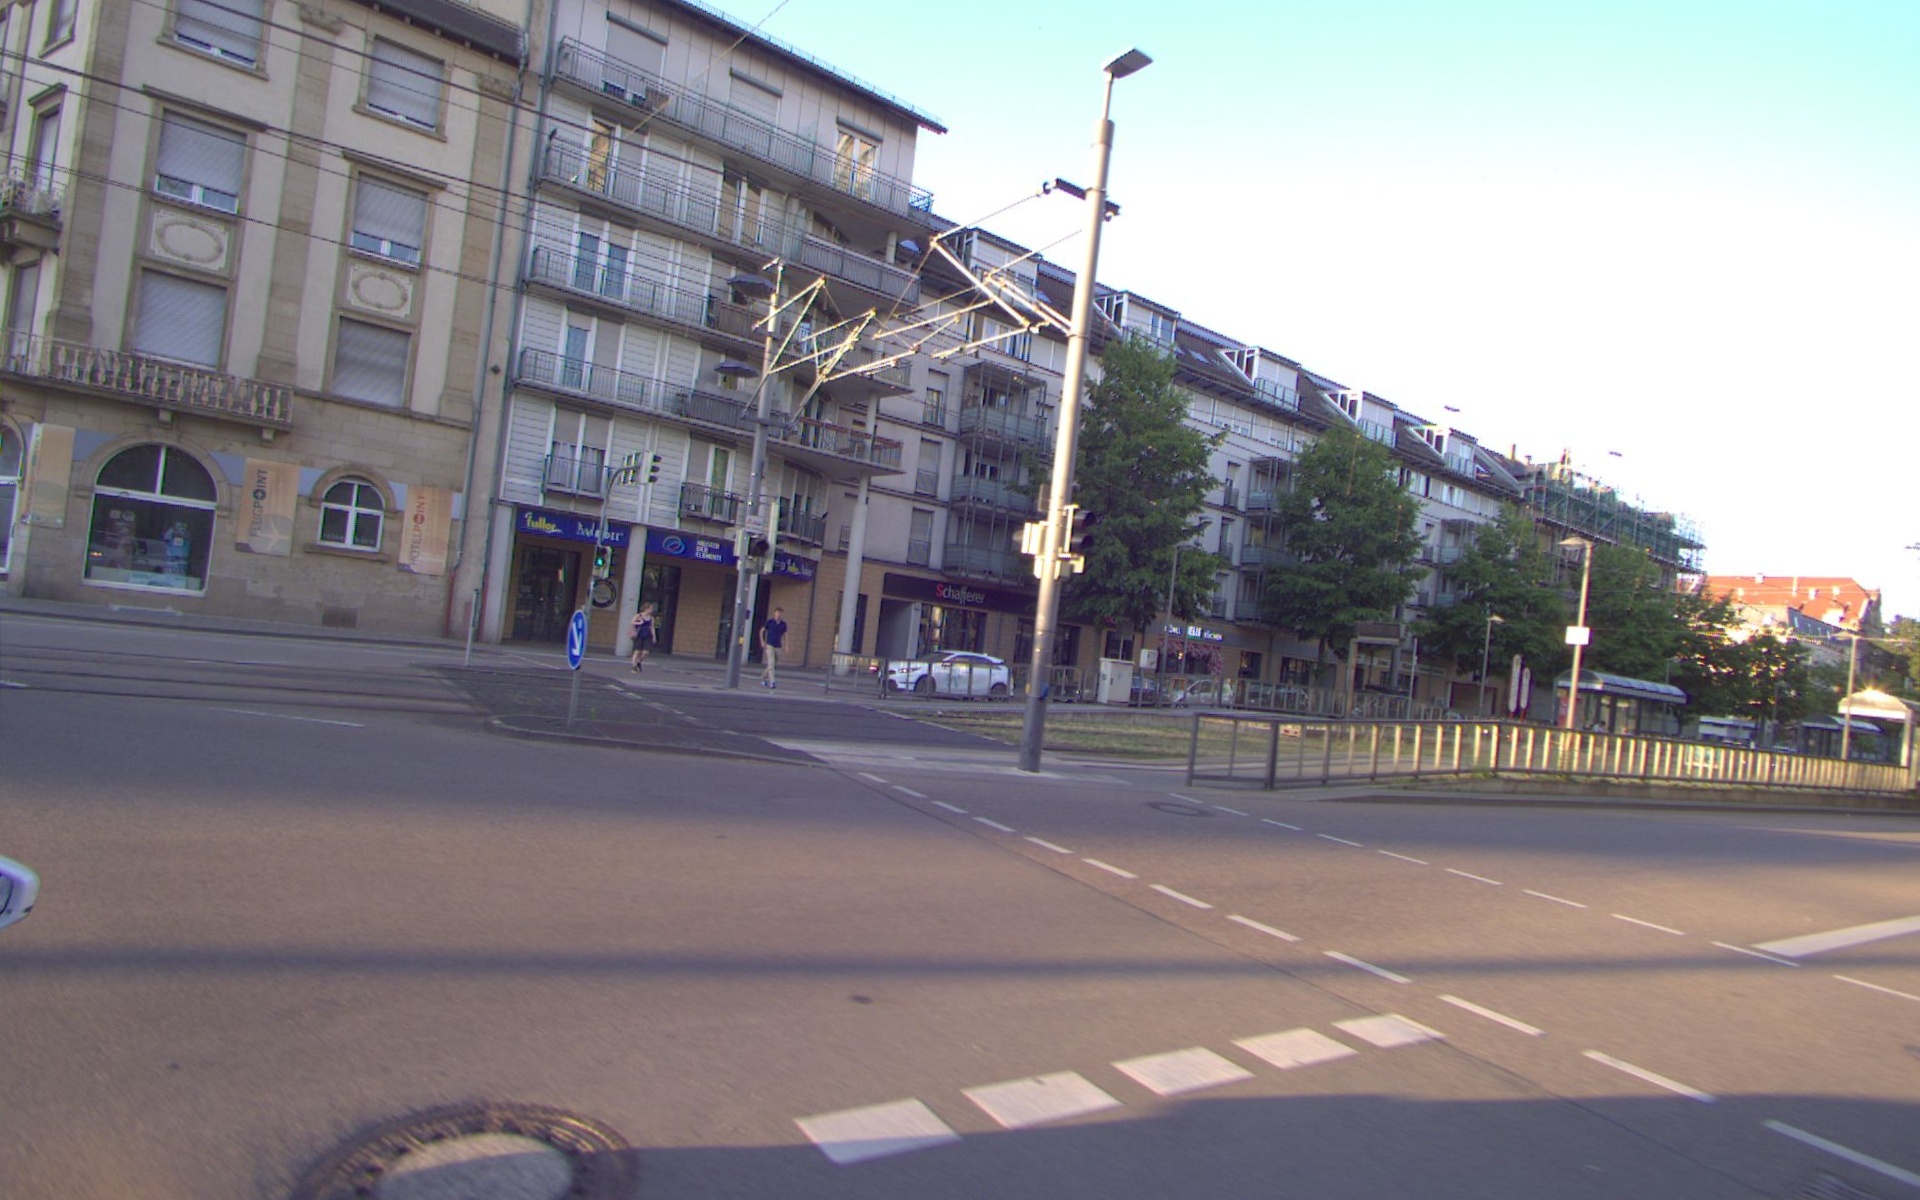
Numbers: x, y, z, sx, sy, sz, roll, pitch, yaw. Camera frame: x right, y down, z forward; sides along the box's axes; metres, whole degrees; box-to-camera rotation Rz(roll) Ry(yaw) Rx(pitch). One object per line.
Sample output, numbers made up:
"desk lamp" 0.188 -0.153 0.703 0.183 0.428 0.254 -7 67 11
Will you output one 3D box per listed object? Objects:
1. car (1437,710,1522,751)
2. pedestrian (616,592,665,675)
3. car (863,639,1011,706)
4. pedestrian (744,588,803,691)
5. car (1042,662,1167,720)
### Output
"car" 24.987 6.272 48.358 3.963 1.502 1.835 9 -4 -33
"pedestrian" -7.367 0.768 23.207 0.781 1.799 0.539 8 -3 -32
"car" -0.660 2.175 30.036 3.963 1.502 1.835 9 -4 -33
"pedestrian" -4.280 0.890 23.037 0.813 2.233 0.863 8 -3 -34
"car" 4.902 3.083 33.964 3.970 1.502 1.832 10 -4 -38
